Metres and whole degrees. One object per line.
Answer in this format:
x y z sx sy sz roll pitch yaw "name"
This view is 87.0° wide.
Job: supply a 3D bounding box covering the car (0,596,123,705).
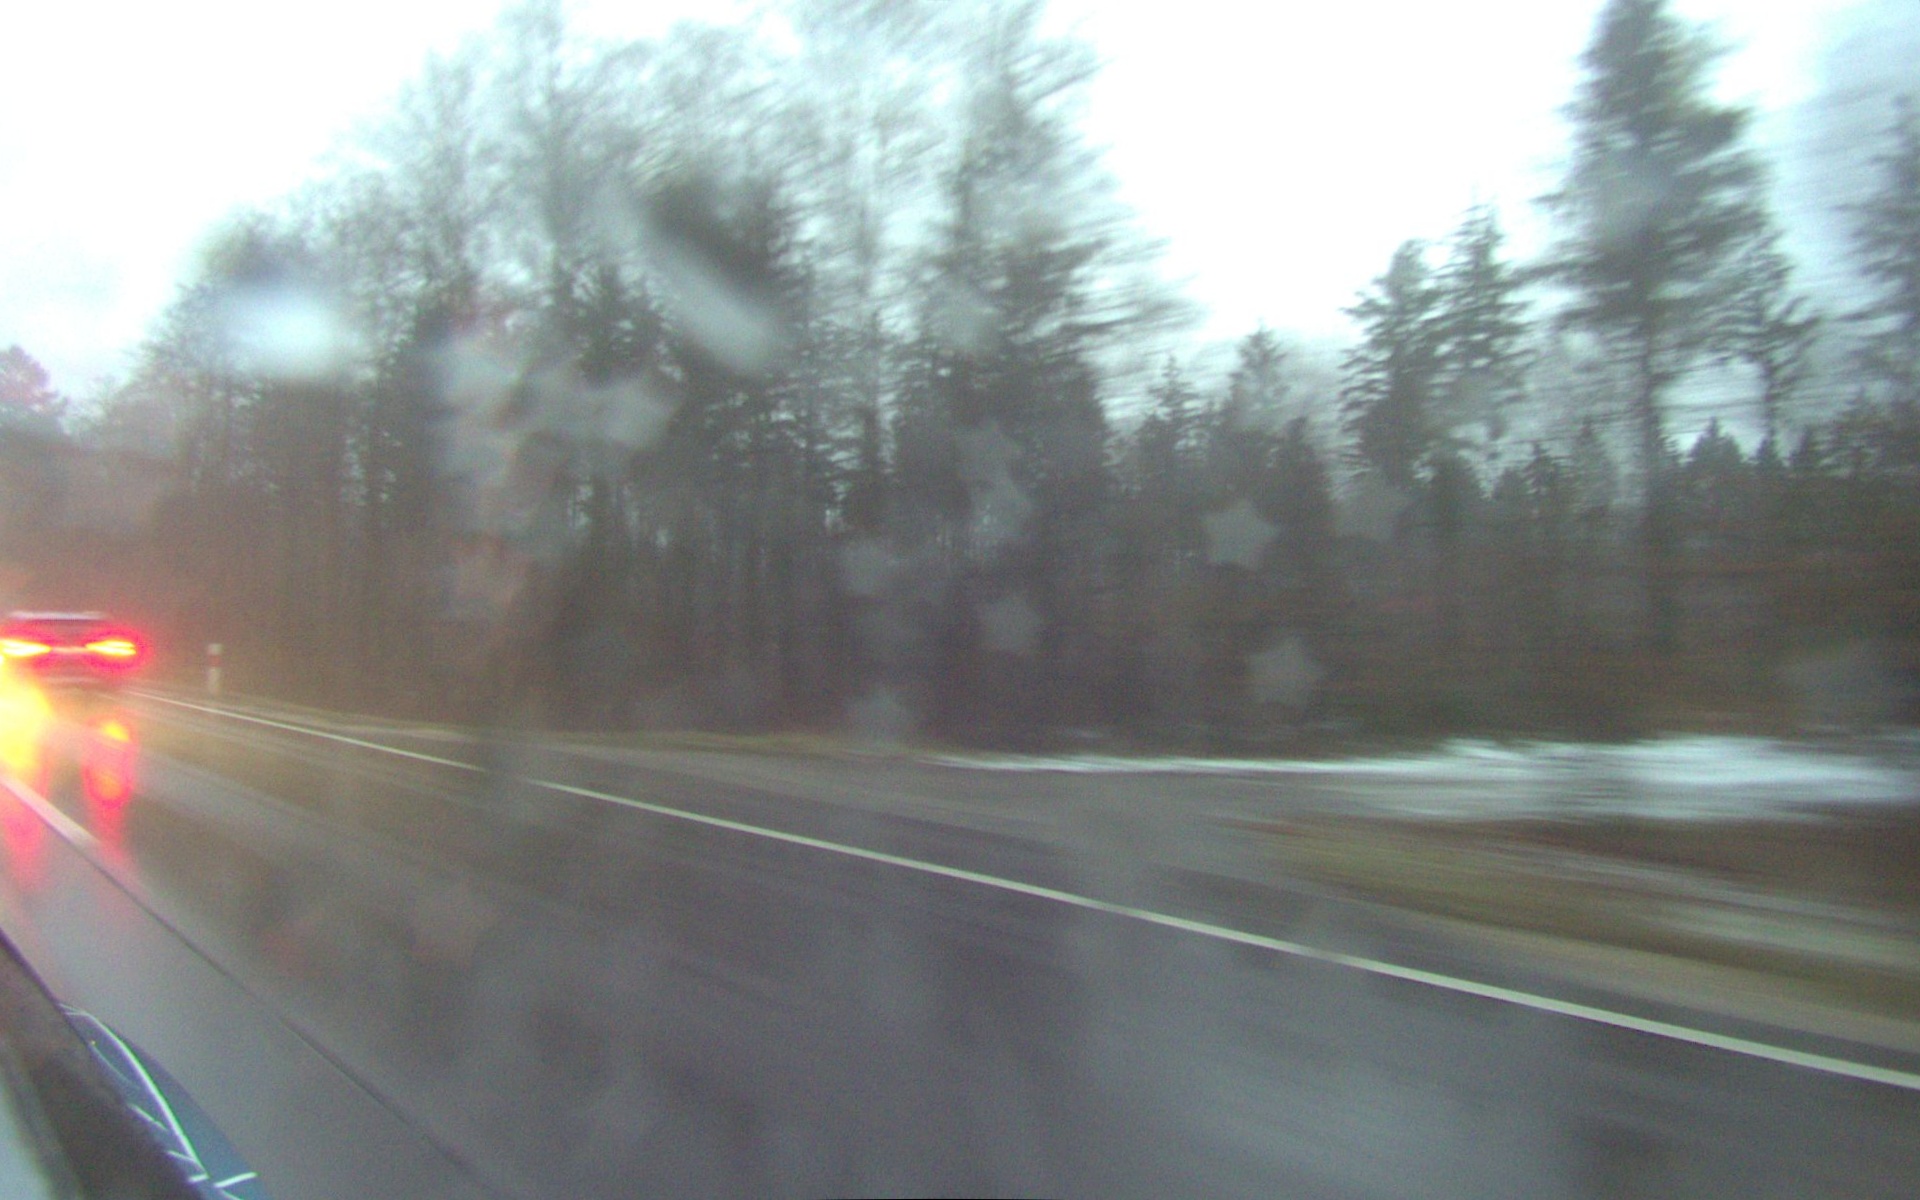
-17.356 0.890 19.113 4.283 1.836 1.688 -1 -2 41 "car"
